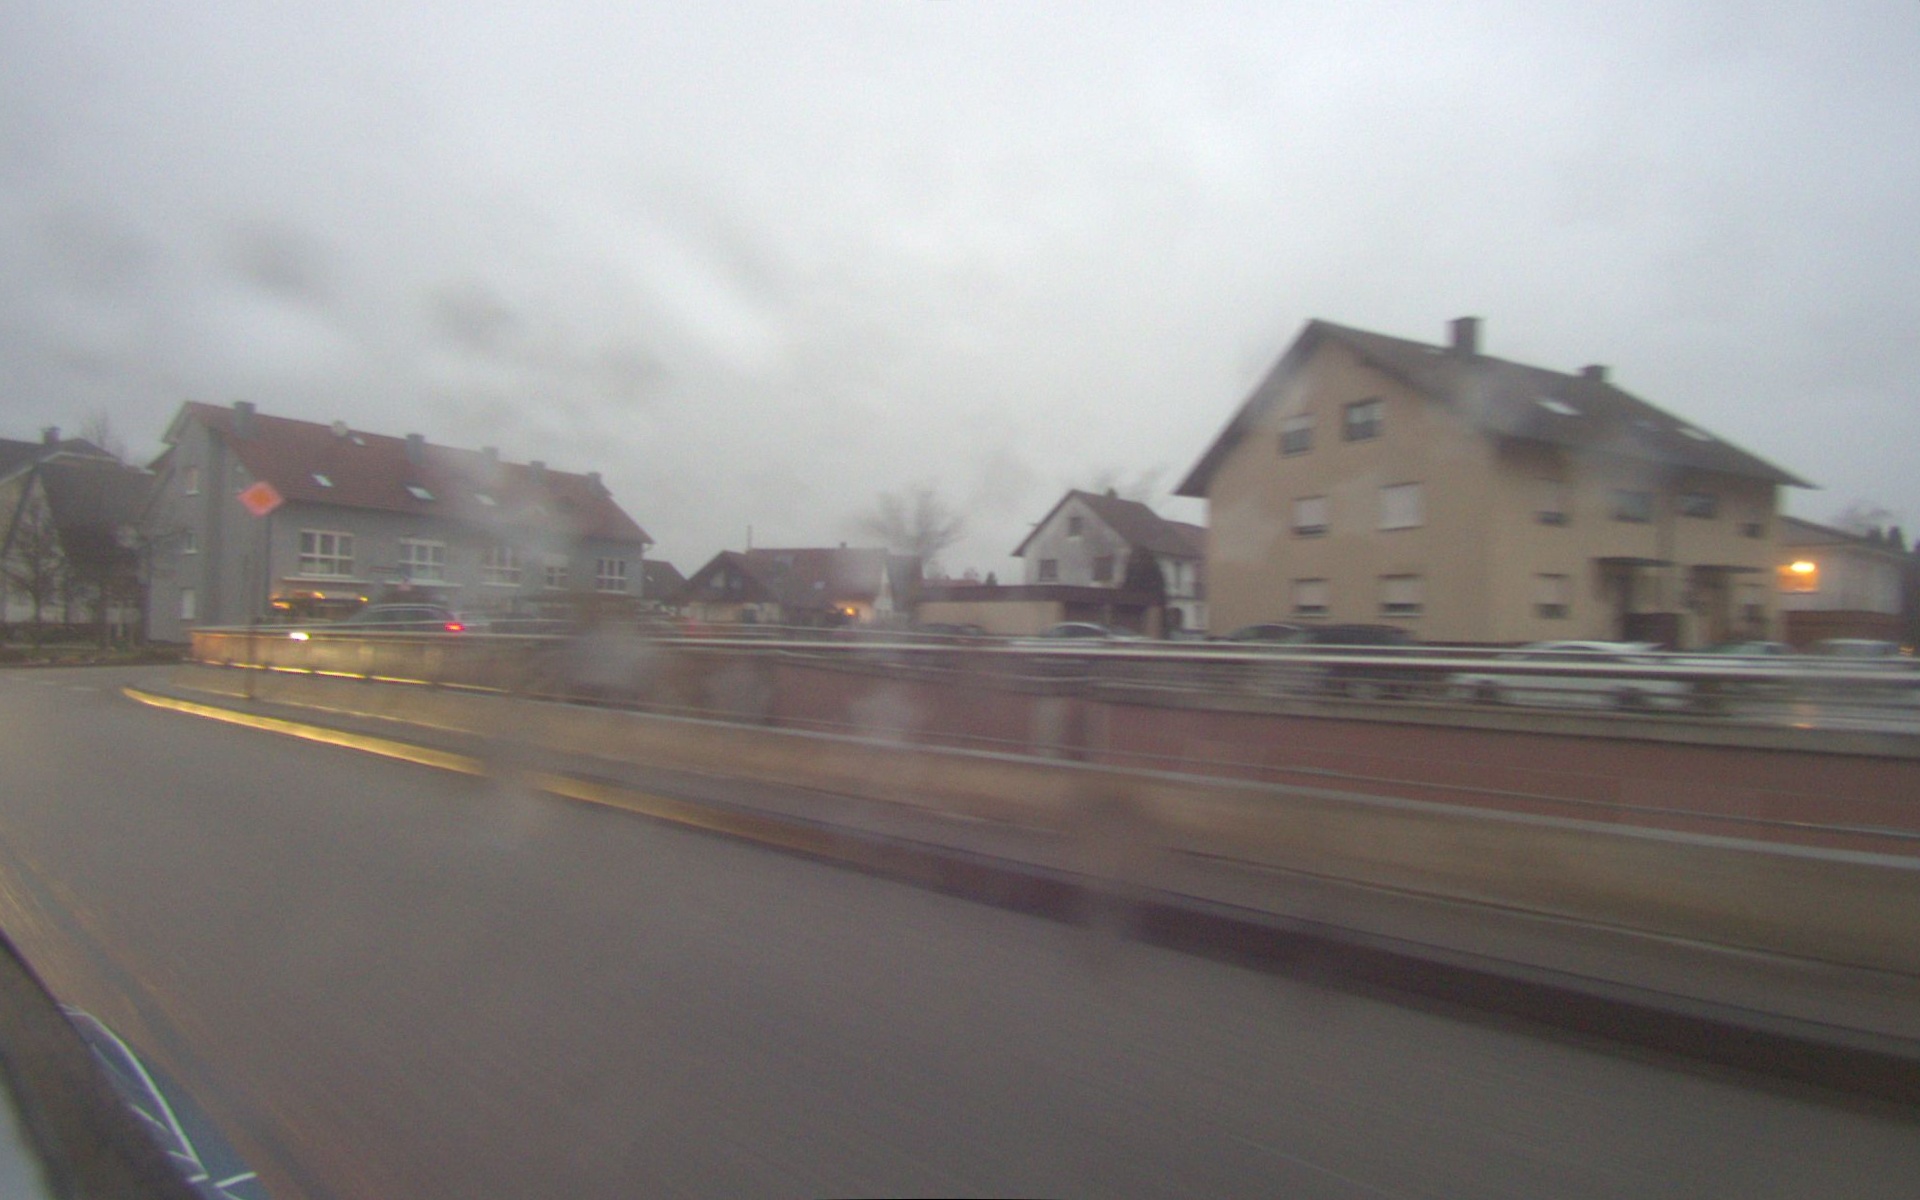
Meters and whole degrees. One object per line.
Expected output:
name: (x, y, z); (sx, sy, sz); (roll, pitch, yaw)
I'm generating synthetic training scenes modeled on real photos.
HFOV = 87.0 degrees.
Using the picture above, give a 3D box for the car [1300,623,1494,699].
car: (10.654, 1.416, 24.852); (4.001, 1.660, 1.790); (-1, 0, 44)

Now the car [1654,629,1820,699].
car: (20.043, 1.601, 26.101); (3.971, 1.535, 1.819); (-1, 0, -27)

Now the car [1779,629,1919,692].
car: (25.482, 1.670, 28.756); (3.931, 1.556, 2.006); (-1, 0, -28)

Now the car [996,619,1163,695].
car: (3.356, 1.559, 28.842); (4.354, 1.919, 1.974); (-1, 0, 40)

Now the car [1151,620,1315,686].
car: (7.503, 1.405, 28.004); (3.999, 1.660, 1.815); (-1, 0, 42)

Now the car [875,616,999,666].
car: (-0.776, 1.255, 32.394); (3.832, 1.425, 1.659); (0, 1, 41)

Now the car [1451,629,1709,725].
car: (12.144, 1.426, 19.983); (1.795, 1.636, 3.988); (-1, -1, -44)

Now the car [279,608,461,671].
car: (-17.497, 1.120, 30.144); (2.000, 1.633, 4.286); (-1, 0, 42)

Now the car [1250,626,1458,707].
car: (8.890, 1.432, 23.026); (1.874, 1.529, 4.003); (-1, 1, -44)
